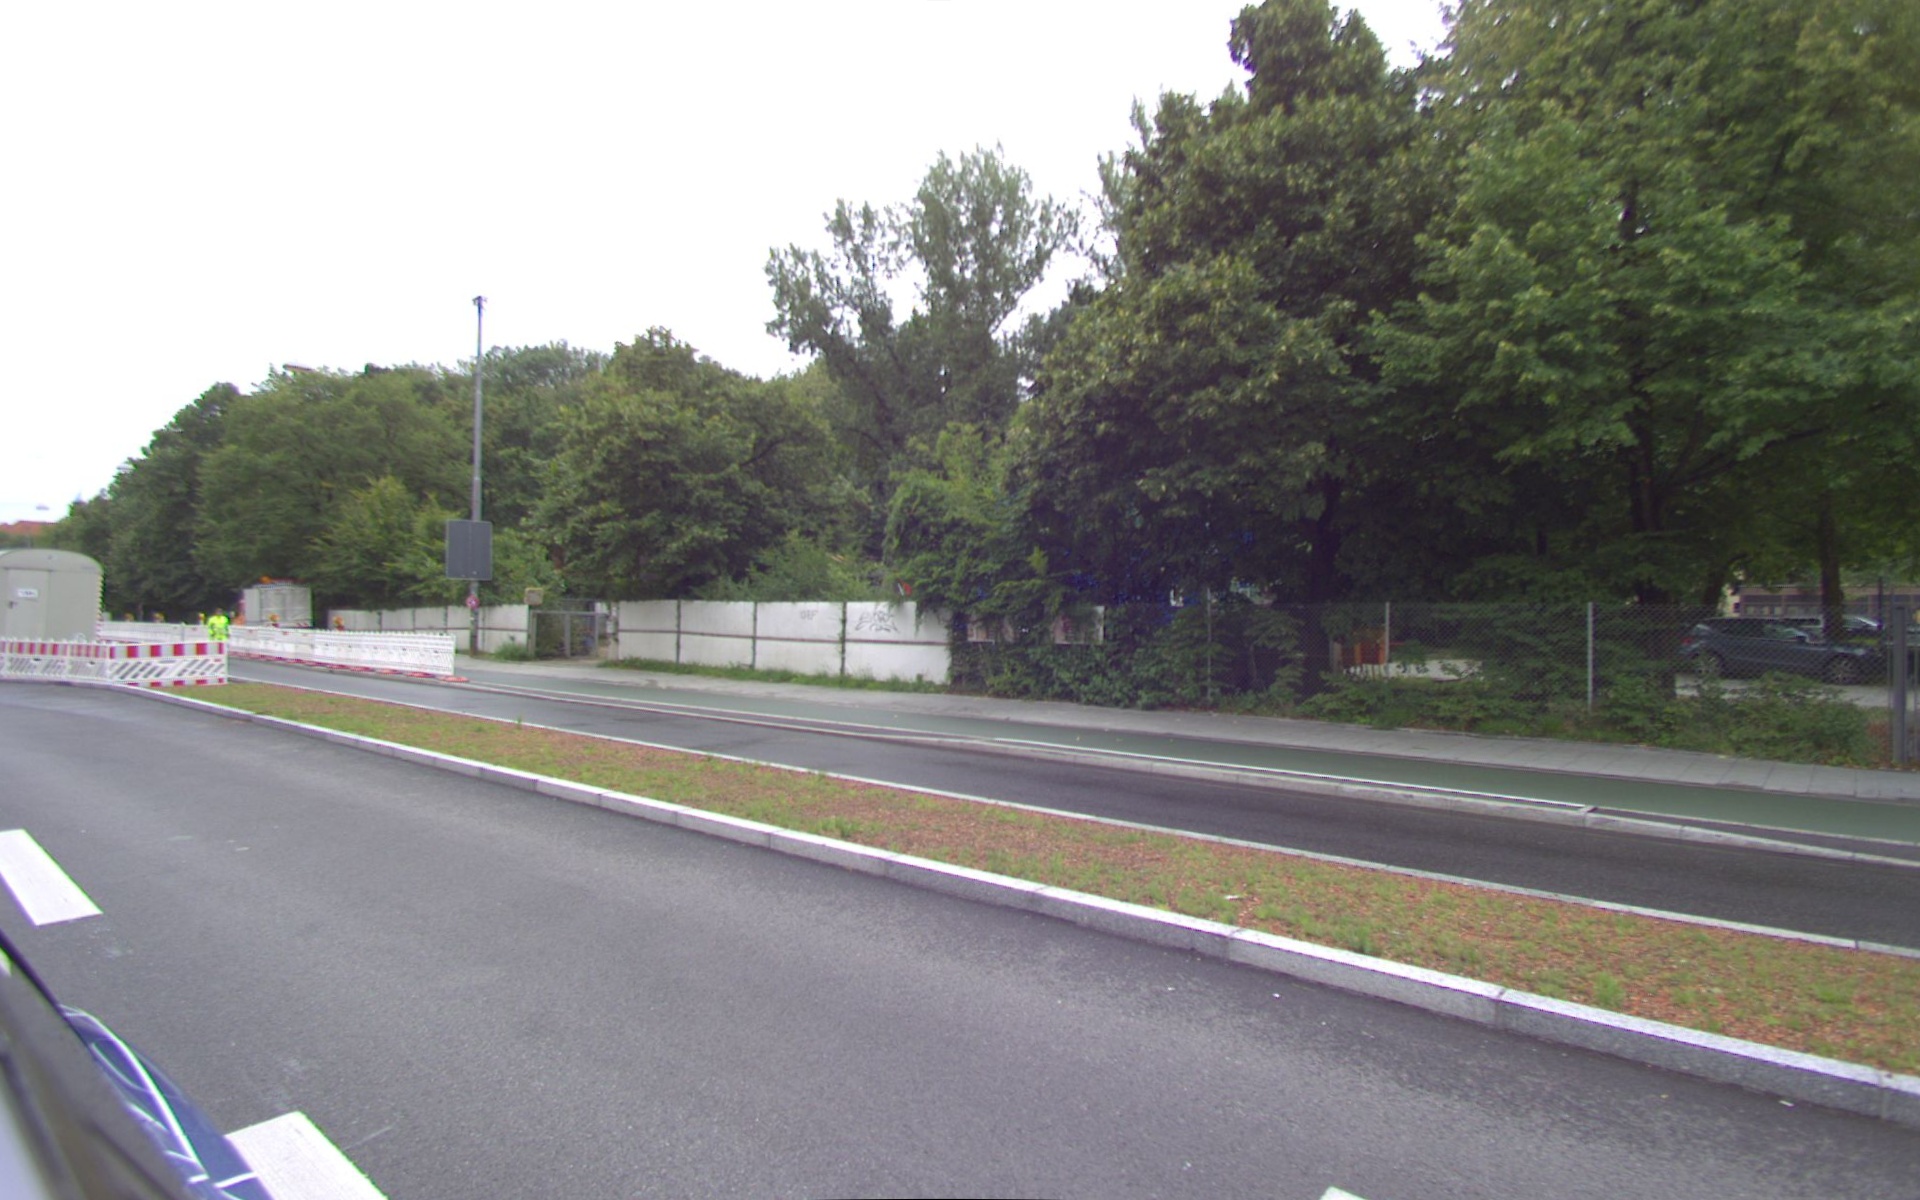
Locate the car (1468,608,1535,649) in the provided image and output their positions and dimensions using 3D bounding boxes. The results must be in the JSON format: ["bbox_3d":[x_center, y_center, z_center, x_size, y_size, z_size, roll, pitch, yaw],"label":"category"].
[{"bbox_3d":[23.961,1.254,44.689,1.997,1.732,3.949,-1,-2,38],"label":"car"}]

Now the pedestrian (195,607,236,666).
[{"bbox_3d":[-25.204,1.224,34.278,0.874,1.956,0.879,-1,-2,39],"label":"pedestrian"}]

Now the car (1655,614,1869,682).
[{"bbox_3d":[19.617,1.127,24.923,3.996,1.556,1.752,-1,-2,40],"label":"car"}]

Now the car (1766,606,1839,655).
[{"bbox_3d":[31.716,1.135,38.195,1.998,1.732,3.948,-1,-2,38],"label":"car"}]

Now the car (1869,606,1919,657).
[{"bbox_3d":[34.107,1.124,36.259,1.998,1.732,3.948,-1,-2,38],"label":"car"}]
